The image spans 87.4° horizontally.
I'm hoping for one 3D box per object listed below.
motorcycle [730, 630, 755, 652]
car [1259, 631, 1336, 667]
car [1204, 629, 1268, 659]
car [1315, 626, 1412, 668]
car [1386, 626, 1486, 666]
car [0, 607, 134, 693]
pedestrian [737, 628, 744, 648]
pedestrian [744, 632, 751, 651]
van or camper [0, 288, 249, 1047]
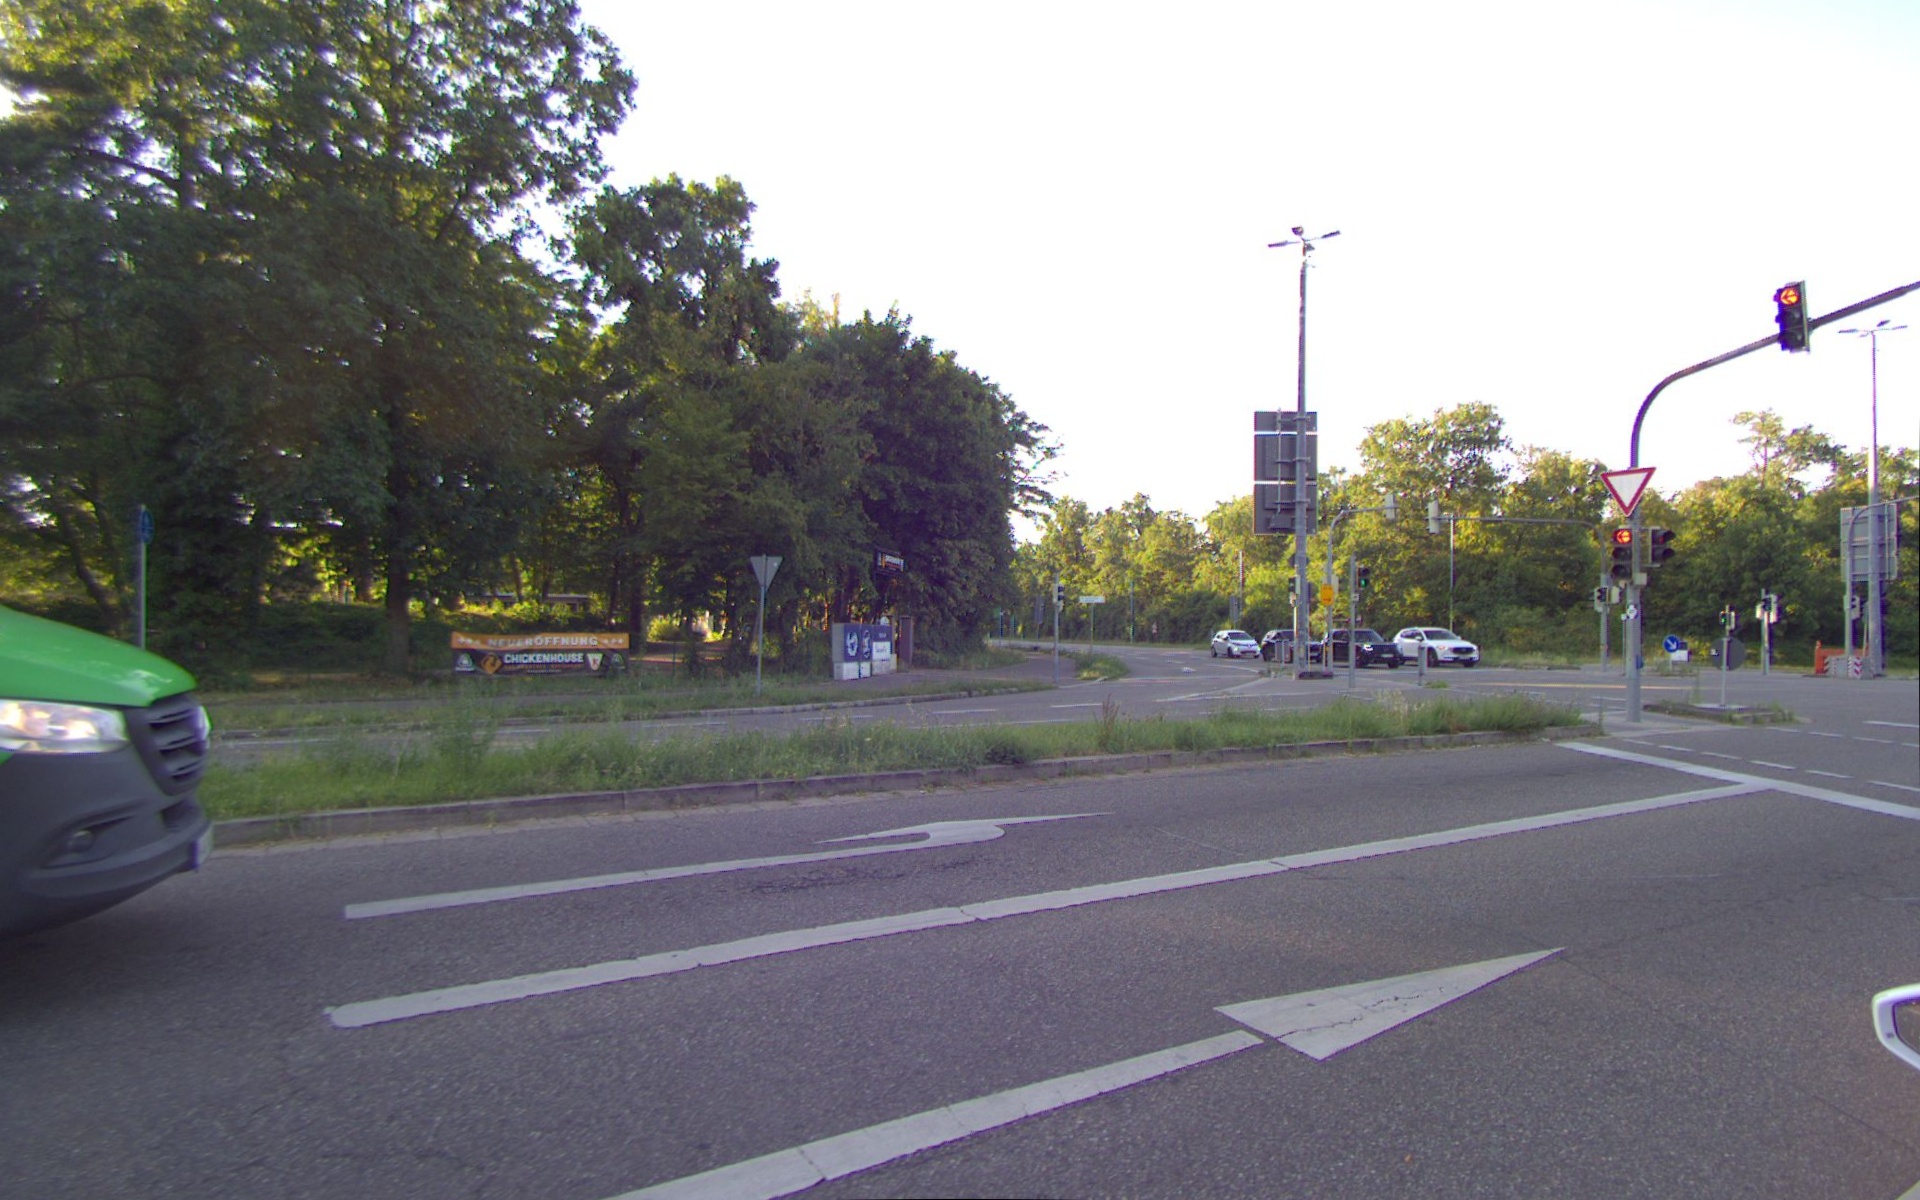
[{"bbox_3d":[-10.300,1.936,47.654,1.156,1.031,0.383,1,-1,-12],"label":"motorcycle"},{"bbox_3d":[16.591,2.361,49.555,1.963,1.661,4.253,1,-1,-7],"label":"car"},{"bbox_3d":[15.823,2.490,57.785,1.964,1.661,4.251,1,-1,-9],"label":"car"},{"bbox_3d":[16.848,1.929,42.205,1.963,1.661,4.253,1,-1,-7],"label":"car"},{"bbox_3d":[20.545,1.951,43.584,1.963,1.661,4.253,1,-1,-7],"label":"car"},{"bbox_3d":[-18.670,0.952,19.586,3.778,1.618,1.842,2,-2,-36],"label":"car"},{"bbox_3d":[-10.424,1.822,47.639,0.316,0.937,0.375,1,-1,-12],"label":"pedestrian"},{"bbox_3d":[-10.104,1.975,47.706,0.316,0.931,0.375,1,-1,-12],"label":"pedestrian"},{"bbox_3d":[-5.633,0.178,2.777,5.832,2.453,1.982,1,-2,-33],"label":"van or camper"}]
